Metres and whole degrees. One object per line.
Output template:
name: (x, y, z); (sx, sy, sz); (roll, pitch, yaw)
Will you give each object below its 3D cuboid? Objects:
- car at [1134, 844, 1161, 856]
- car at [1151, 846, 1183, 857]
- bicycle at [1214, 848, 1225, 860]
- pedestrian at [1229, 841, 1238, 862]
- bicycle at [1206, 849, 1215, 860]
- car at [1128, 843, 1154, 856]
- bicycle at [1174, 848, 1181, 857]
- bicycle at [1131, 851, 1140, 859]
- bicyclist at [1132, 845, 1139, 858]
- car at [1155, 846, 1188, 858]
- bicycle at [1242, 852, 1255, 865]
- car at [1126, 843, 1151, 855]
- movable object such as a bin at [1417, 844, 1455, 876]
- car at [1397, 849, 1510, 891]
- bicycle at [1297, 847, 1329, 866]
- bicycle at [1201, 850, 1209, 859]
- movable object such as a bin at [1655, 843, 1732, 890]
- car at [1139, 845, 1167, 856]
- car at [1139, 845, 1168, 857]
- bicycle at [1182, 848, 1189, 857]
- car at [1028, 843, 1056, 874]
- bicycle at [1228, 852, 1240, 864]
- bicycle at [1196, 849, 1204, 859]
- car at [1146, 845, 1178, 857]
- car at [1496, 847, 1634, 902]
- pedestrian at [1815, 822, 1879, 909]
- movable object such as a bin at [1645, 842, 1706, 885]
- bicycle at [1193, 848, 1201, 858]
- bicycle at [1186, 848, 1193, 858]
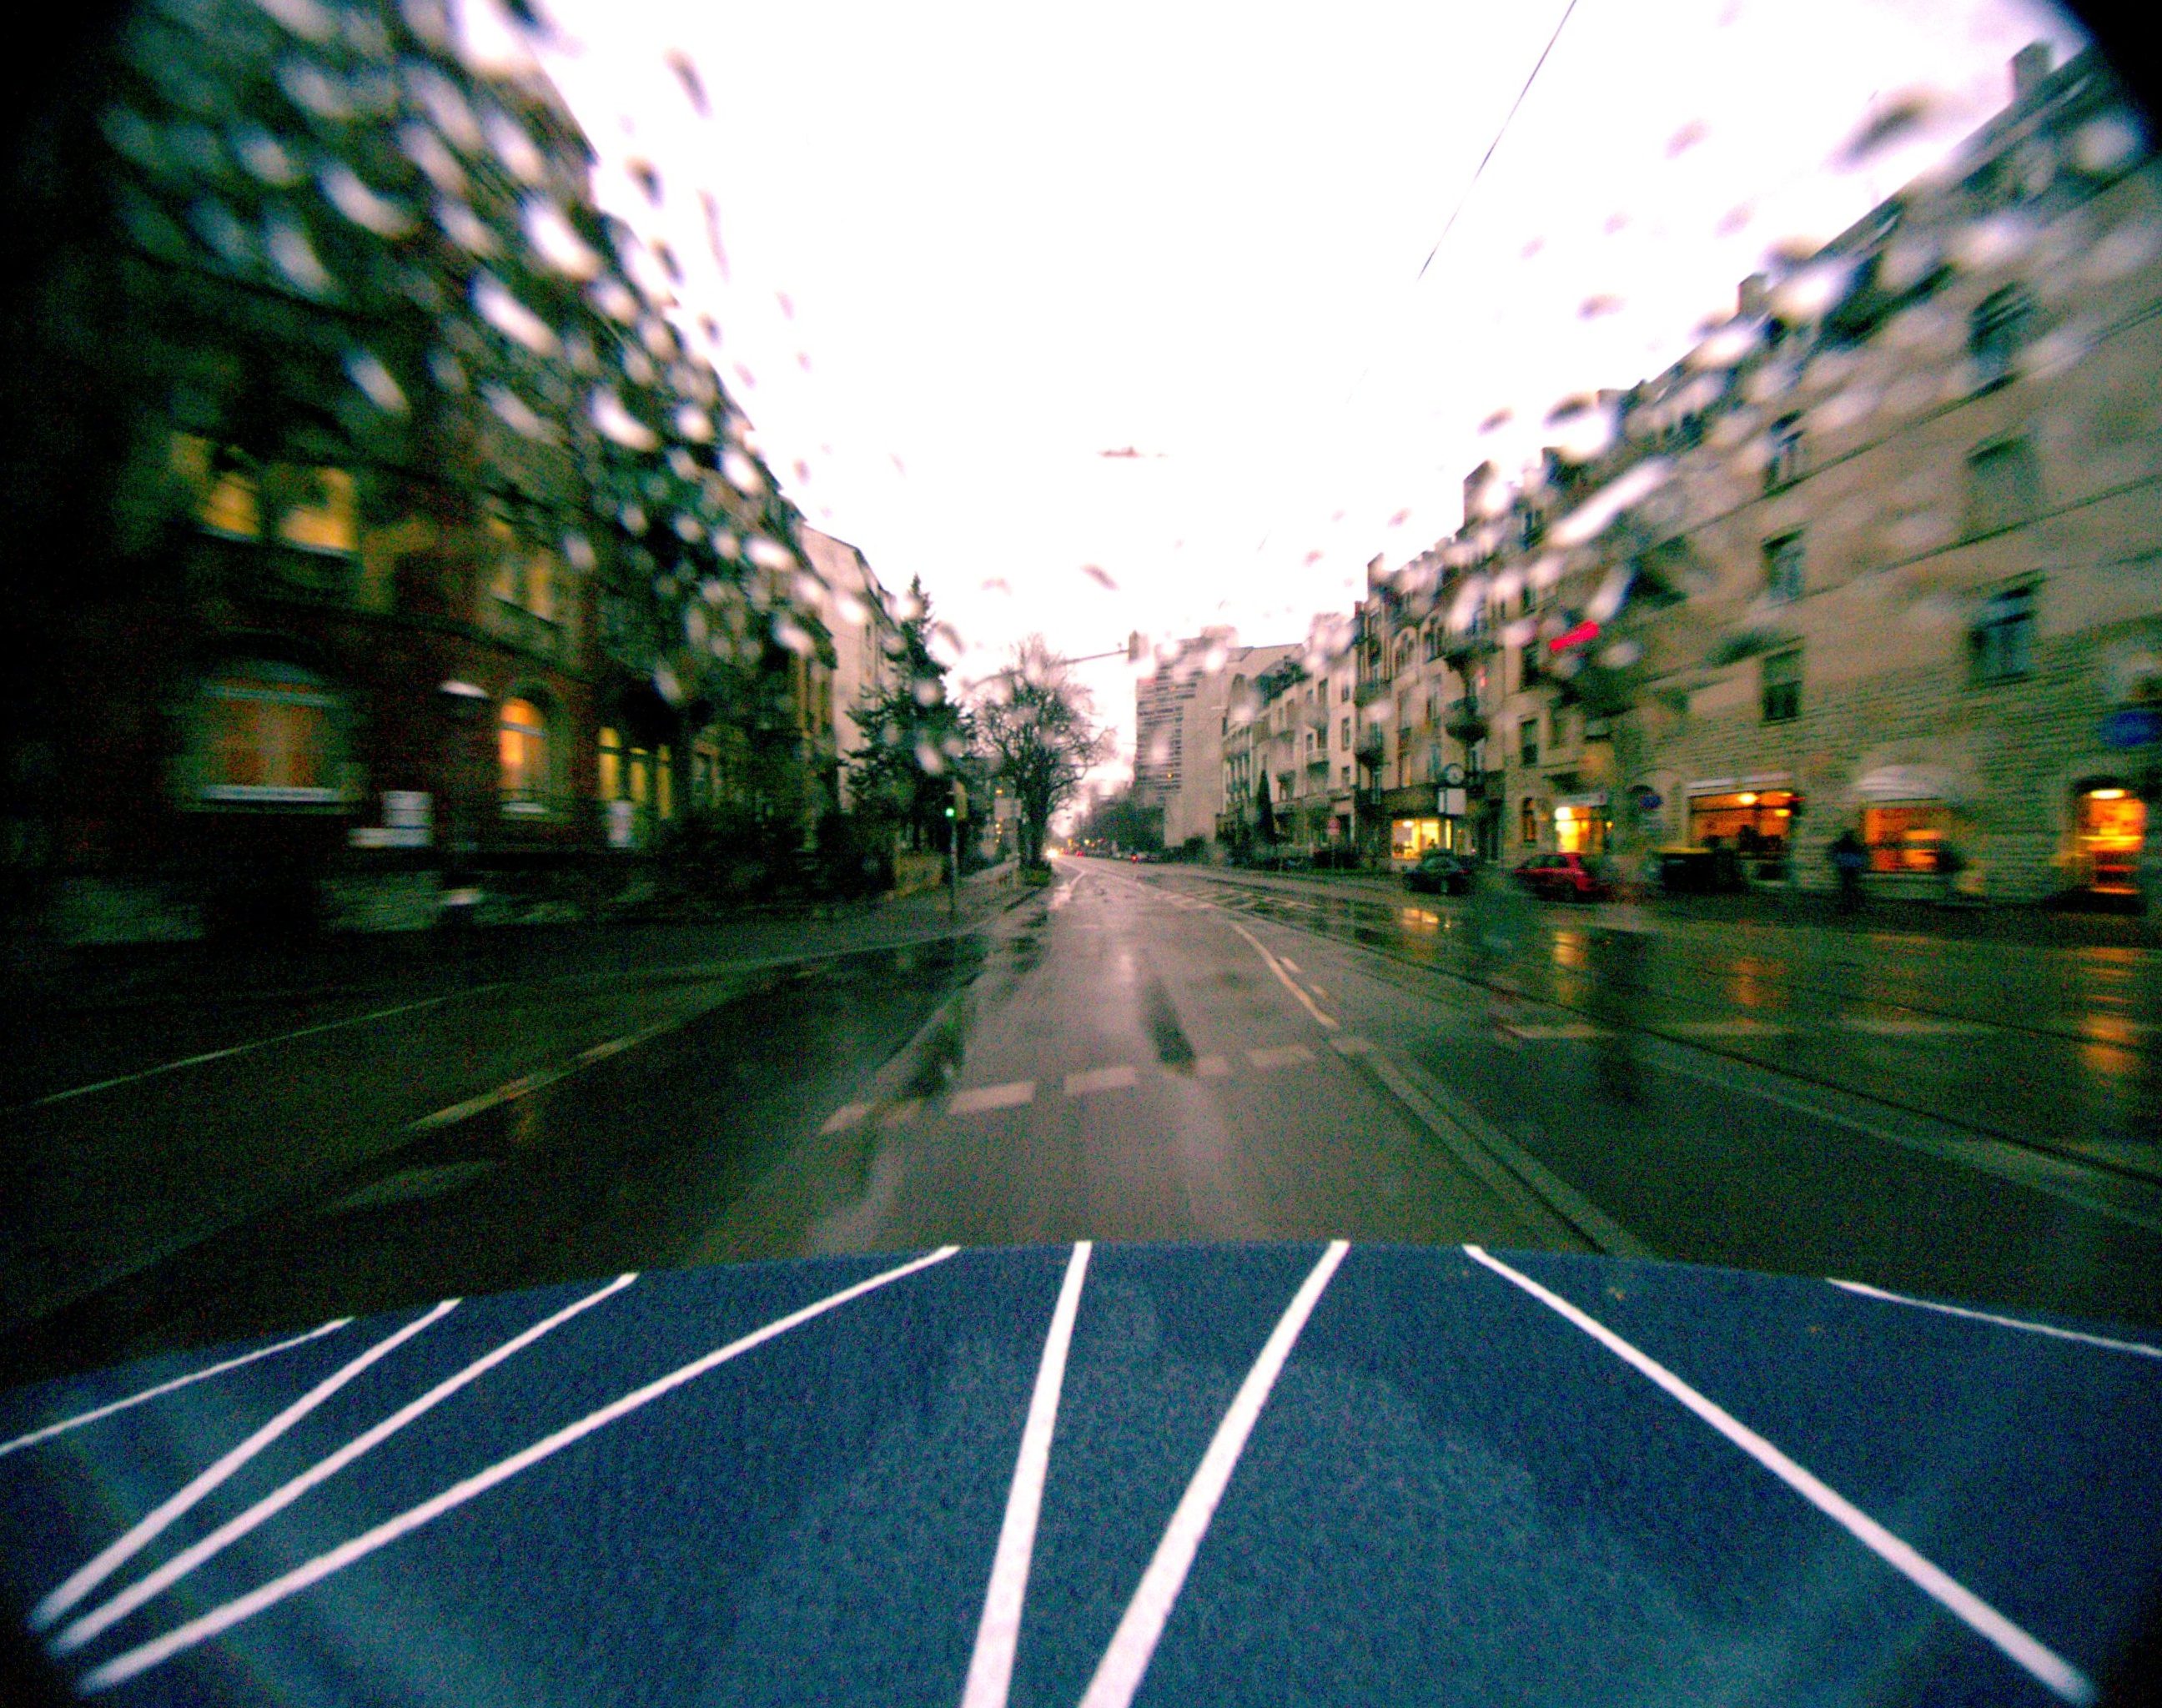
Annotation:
car: (10.108, -0.644, 116.243); (3.840, 1.707, 1.727); (-3, 1, -2)
car: (10.924, -0.335, 96.746); (3.841, 1.405, 1.727); (0, 1, -2)
bicycle: (12.366, -0.013, 67.915); (0.524, 1.001, 2.208); (-3, 1, -1)
pedestrian: (12.031, -0.176, 59.930); (0.574, 1.633, 0.449); (-3, 2, -4)
bicycle: (12.171, 0.034, 71.266); (0.435, 1.001, 1.712); (-3, 1, -1)
car: (9.336, -0.685, 119.029); (3.840, 1.707, 1.726); (-3, 1, -2)
bicycle: (11.113, -0.167, 87.484); (0.469, 1.001, 1.880); (-3, 1, -1)
bicycle: (6.387, 0.067, 89.512); (0.649, 0.885, 1.711); (1, 1, -10)
bicyclist: (6.408, -0.314, 89.415); (0.658, 1.492, 0.657); (1, 1, -10)
car: (11.243, -0.293, 94.086); (3.840, 1.405, 1.726); (-1, 1, -2)
bicycle: (12.705, 0.335, 57.712); (0.531, 0.934, 2.085); (-3, 1, 1)
car: (9.318, -0.770, 122.986); (3.840, 1.707, 1.726); (-3, 1, -2)
movable object such as a bin: (16.902, 0.260, 36.196); (1.240, 1.423, 1.073); (-3, 1, -4)
car: (14.409, 0.576, 29.712); (1.807, 1.382, 4.505); (-3, 1, -6)
bicycle: (15.798, 0.172, 51.845); (1.990, 1.152, 0.531); (-3, 2, -4)
bicycle: (11.914, 0.017, 73.070); (0.442, 0.827, 1.767); (-3, 1, -1)
movable object such as a bin: (19.464, 0.379, 24.183); (1.353, 1.364, 1.280); (-3, 1, -4)
car: (10.415, -0.481, 109.850); (3.840, 1.405, 1.726); (-3, 1, -2)
car: (10.038, -0.415, 105.340); (3.840, 1.405, 1.727); (-3, 1, -2)
bicycle: (11.355, -0.165, 82.547); (0.435, 1.001, 1.880); (-3, 1, -1)
car: (-2.699, 0.246, 51.985); (1.726, 1.934, 4.506); (-3, 1, -4)
bicycle: (12.570, 0.339, 62.514); (0.531, 0.885, 2.209); (-3, 1, 1)
bicycle: (11.779, -0.025, 75.246); (0.435, 1.001, 1.604); (-3, 1, -1)
car: (10.592, -0.423, 99.539); (3.840, 1.405, 1.726); (-3, 1, -2)
car: (15.299, 0.583, 24.265); (1.677, 1.508, 3.676); (-3, 1, -9)
pedestrian: (17.028, 0.247, 16.903); (0.796, 1.867, 0.896); (-2, 2, 33)
movable object such as a bin: (19.990, 0.296, 25.575); (1.004, 1.364, 1.274); (-3, 1, -4)
bicycle: (11.773, -0.091, 77.044); (0.435, 1.001, 1.880); (-3, 1, -1)
bicycle: (11.509, -0.118, 80.544); (0.435, 1.001, 1.880); (-3, 1, -1)
